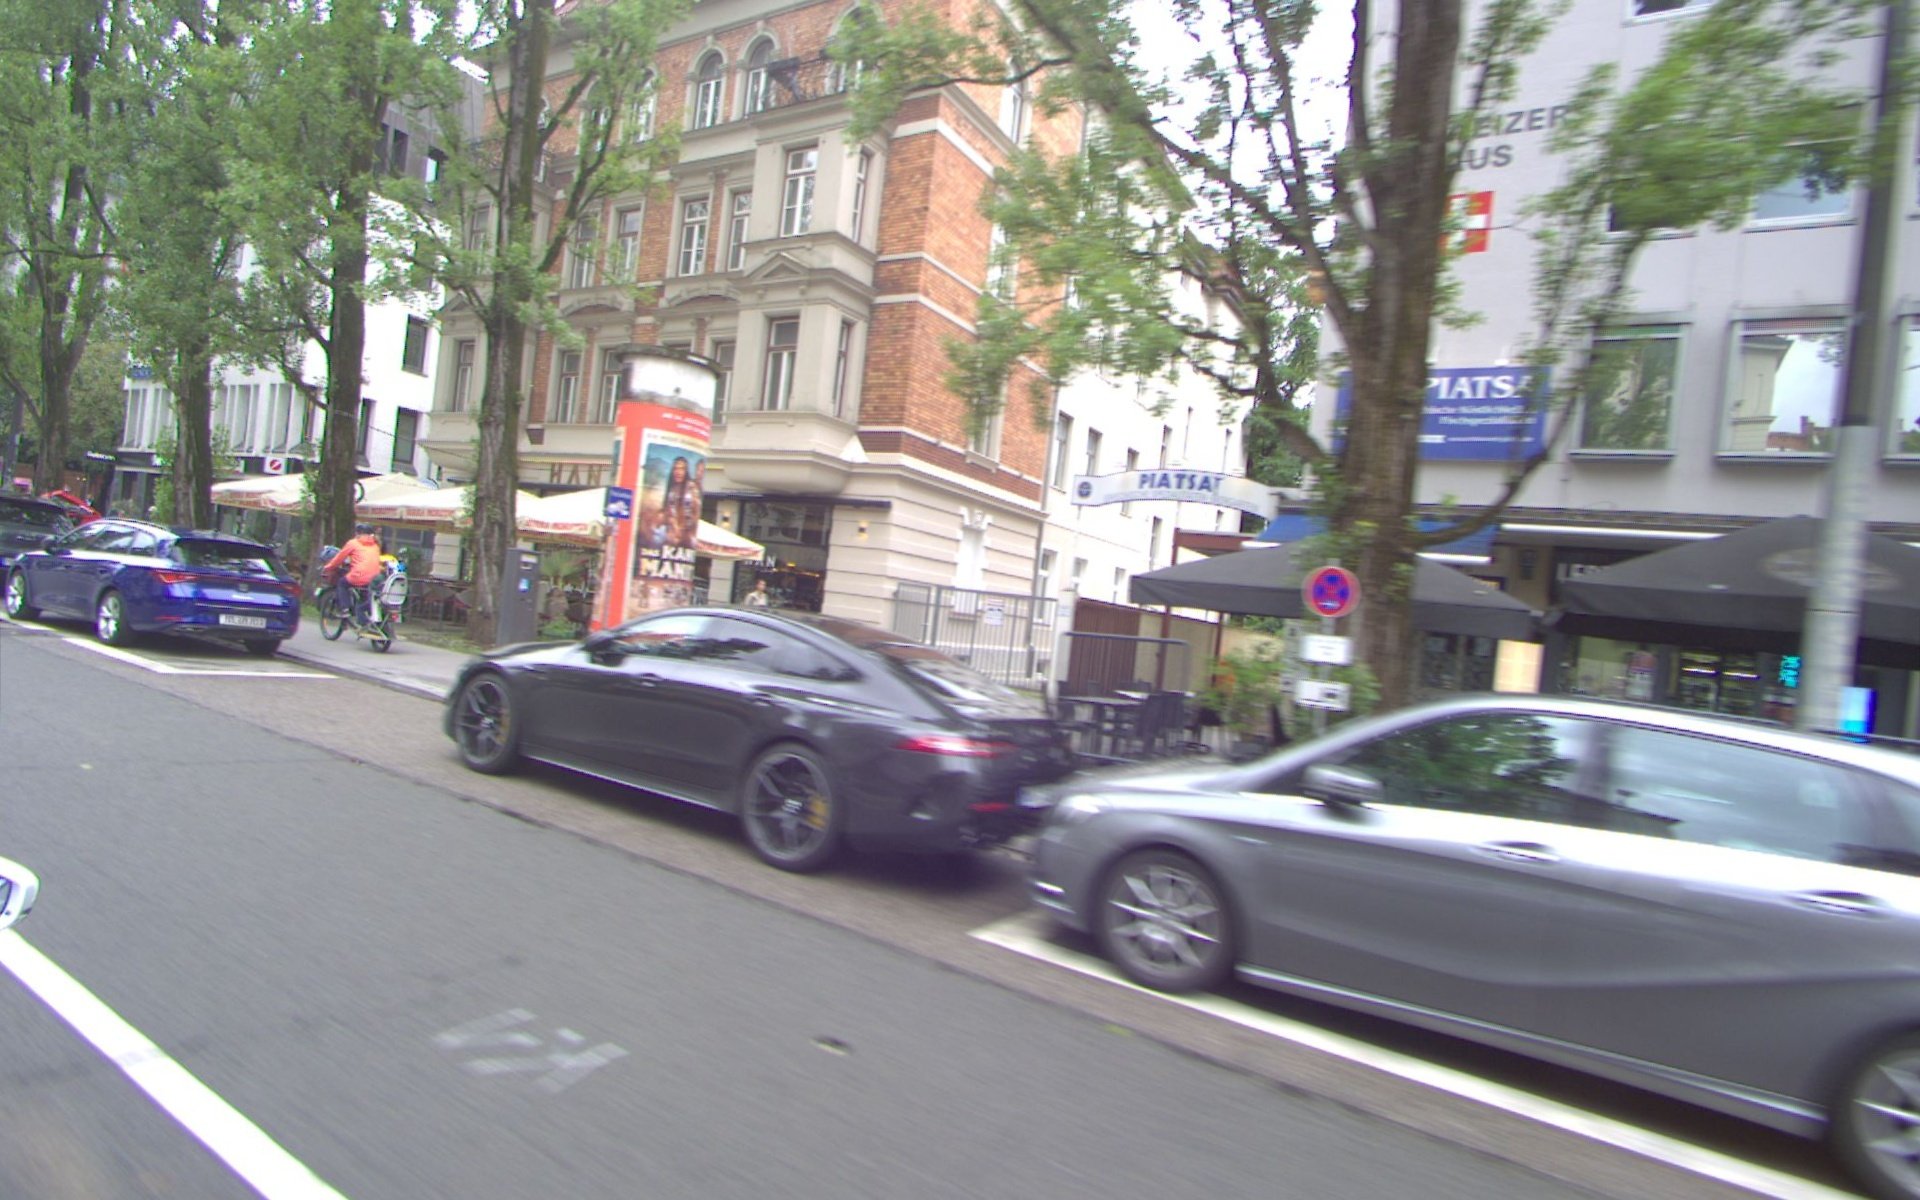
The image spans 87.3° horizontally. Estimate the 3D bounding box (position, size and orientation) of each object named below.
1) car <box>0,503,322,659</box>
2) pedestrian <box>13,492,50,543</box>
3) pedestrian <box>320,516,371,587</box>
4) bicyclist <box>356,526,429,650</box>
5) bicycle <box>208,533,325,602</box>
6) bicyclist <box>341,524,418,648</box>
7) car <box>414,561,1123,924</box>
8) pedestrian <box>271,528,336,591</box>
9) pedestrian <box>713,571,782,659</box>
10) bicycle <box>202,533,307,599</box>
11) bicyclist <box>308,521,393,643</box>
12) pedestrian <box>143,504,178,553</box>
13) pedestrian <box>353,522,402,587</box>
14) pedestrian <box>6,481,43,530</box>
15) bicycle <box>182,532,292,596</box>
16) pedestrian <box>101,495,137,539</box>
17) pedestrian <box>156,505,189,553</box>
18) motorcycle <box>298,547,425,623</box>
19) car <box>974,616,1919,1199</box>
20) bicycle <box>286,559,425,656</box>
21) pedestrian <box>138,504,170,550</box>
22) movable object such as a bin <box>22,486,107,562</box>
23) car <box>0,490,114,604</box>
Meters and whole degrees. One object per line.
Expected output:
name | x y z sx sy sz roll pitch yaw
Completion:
car | -10.133 -0.269 12.523 4.388 1.422 1.753 7 0 29
pedestrian | -31.918 -2.845 34.586 0.693 1.620 0.654 7 -1 32
pedestrian | -17.072 -1.350 27.943 0.916 1.825 0.729 7 1 32
bicyclist | -7.675 -0.154 13.614 0.385 1.608 0.622 7 1 31
bicycle | -14.331 -0.642 20.850 0.566 1.207 1.874 7 0 27
bicyclist | -7.946 -0.184 13.775 0.473 1.608 0.622 7 1 31
car | -1.488 0.732 7.057 4.723 1.450 1.881 7 0 31
pedestrian | -15.006 -0.920 23.009 0.719 1.283 0.929 7 1 30
pedestrian | -4.268 0.296 20.214 0.974 1.629 0.729 7 1 32
bicycle | -14.773 -0.691 21.107 0.413 1.207 1.714 7 0 27
bicyclist | -8.576 -0.254 14.160 0.740 1.608 0.622 7 1 31
pedestrian | -28.701 -2.569 36.131 0.692 1.647 0.654 7 1 29
pedestrian | -16.616 -1.299 28.689 0.916 1.698 0.729 7 1 32
pedestrian | -37.585 -3.801 40.426 0.671 1.834 0.793 7 1 30
bicycle | -15.212 -0.727 21.218 0.364 1.153 1.834 7 0 26
pedestrian | -34.079 -3.370 40.761 0.752 1.646 0.737 7 -1 28
pedestrian | -29.246 -2.641 37.361 0.692 1.647 0.654 7 1 29
motorcycle | -10.941 -0.242 18.449 0.683 1.194 1.834 7 0 26
car | 2.391 1.108 4.664 4.159 1.525 1.820 7 0 29
bicycle | -8.499 0.086 14.097 2.226 1.100 0.627 7 1 31
pedestrian | -31.338 -2.842 39.104 0.692 1.647 0.654 7 1 29
movable object such as a bin | -22.966 -1.948 25.805 1.559 1.724 1.034 7 1 28
car | -15.775 -1.010 16.123 4.409 1.585 1.996 7 0 31
